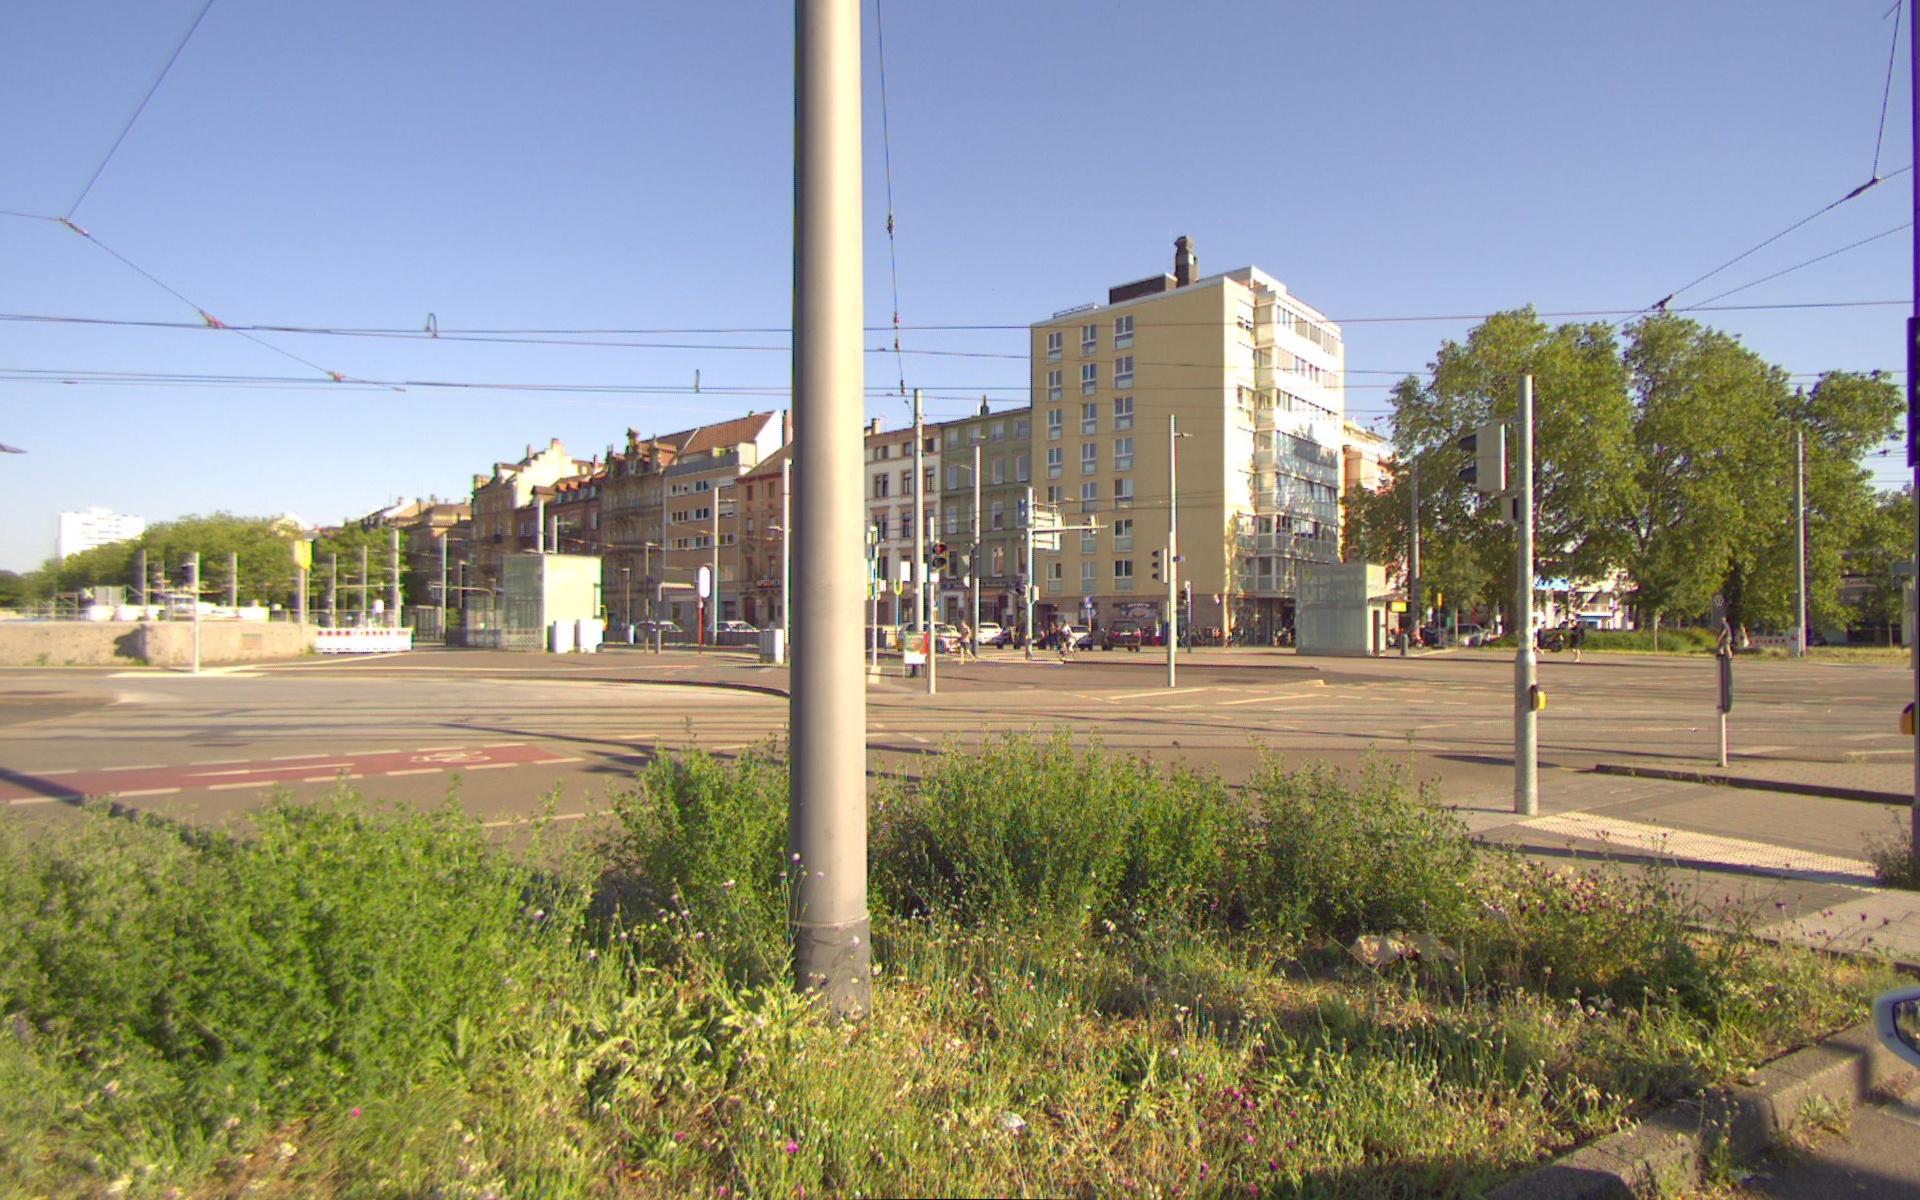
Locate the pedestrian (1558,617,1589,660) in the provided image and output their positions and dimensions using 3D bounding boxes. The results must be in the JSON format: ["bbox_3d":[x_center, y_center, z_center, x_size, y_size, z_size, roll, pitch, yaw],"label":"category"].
[{"bbox_3d":[25.547,1.601,41.813,0.747,1.728,0.793,2,0,-22],"label":"pedestrian"}]

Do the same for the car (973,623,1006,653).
[{"bbox_3d":[1.905,2.390,63.946,1.960,1.728,4.001,2,0,4],"label":"car"}]

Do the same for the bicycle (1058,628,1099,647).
[{"bbox_3d":[8.154,2.586,69.078,3.003,1.167,0.637,1,0,44],"label":"bicycle"}]

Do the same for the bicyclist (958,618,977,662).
[{"bbox_3d":[0.293,1.574,39.676,0.653,1.706,0.980,2,0,2],"label":"bicyclist"}]

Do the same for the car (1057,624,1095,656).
[{"bbox_3d":[6.800,2.332,59.248,1.960,1.728,4.001,2,0,4],"label":"car"}]

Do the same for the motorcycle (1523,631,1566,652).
[{"bbox_3d":[29.145,2.057,50.113,1.753,0.926,0.676,2,0,41],"label":"motorcycle"}]

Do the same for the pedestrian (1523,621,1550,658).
[{"bbox_3d":[26.960,1.845,46.974,0.747,1.728,0.793,2,0,-22],"label":"pedestrian"}]

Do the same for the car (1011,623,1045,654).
[{"bbox_3d":[4.178,2.313,61.552,1.960,1.728,4.001,2,0,4],"label":"car"}]

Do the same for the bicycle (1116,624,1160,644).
[{"bbox_3d":[11.668,2.238,65.993,3.003,1.167,0.637,1,0,44],"label":"bicycle"}]

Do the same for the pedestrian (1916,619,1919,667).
[{"bbox_3d":[38.532,1.714,39.731,0.747,1.911,0.793,2,0,-22],"label":"pedestrian"}]

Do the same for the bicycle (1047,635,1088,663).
[{"bbox_3d":[4.369,1.972,40.680,0.617,1.104,1.914,2,0,44],"label":"bicycle"}]

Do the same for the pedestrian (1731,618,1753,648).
[{"bbox_3d":[45.340,1.890,58.230,0.491,1.716,0.852,2,0,-32],"label":"pedestrian"}]

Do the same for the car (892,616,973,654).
[{"bbox_3d":[-1.374,1.704,49.212,1.775,1.684,3.947,2,0,-44],"label":"car"}]

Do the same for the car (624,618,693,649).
[{"bbox_3d":[-19.700,2.154,65.614,4.837,1.849,1.990,2,0,41],"label":"car"}]

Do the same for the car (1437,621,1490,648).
[{"bbox_3d":[32.009,2.203,63.814,3.973,1.588,1.753,2,0,-44],"label":"car"}]

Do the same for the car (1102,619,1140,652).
[{"bbox_3d":[9.162,1.980,57.403,1.684,1.728,4.001,2,0,4],"label":"car"}]

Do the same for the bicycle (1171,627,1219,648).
[{"bbox_3d":[14.905,2.365,63.746,3.003,1.167,0.637,1,0,44],"label":"bicycle"}]

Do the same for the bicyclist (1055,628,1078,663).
[{"bbox_3d":[4.315,1.836,40.619,0.617,1.368,0.658,2,0,44],"label":"bicyclist"}]

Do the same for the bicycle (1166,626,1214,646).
[{"bbox_3d":[14.464,2.251,63.186,3.003,1.167,0.637,1,0,44],"label":"bicycle"}]

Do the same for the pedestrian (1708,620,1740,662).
[{"bbox_3d":[32.505,1.750,42.748,0.747,1.728,0.793,2,0,-22],"label":"pedestrian"}]

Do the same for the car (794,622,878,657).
[{"bbox_3d":[-6.669,2.081,53.823,4.650,1.684,1.778,2,0,41],"label":"car"}]
